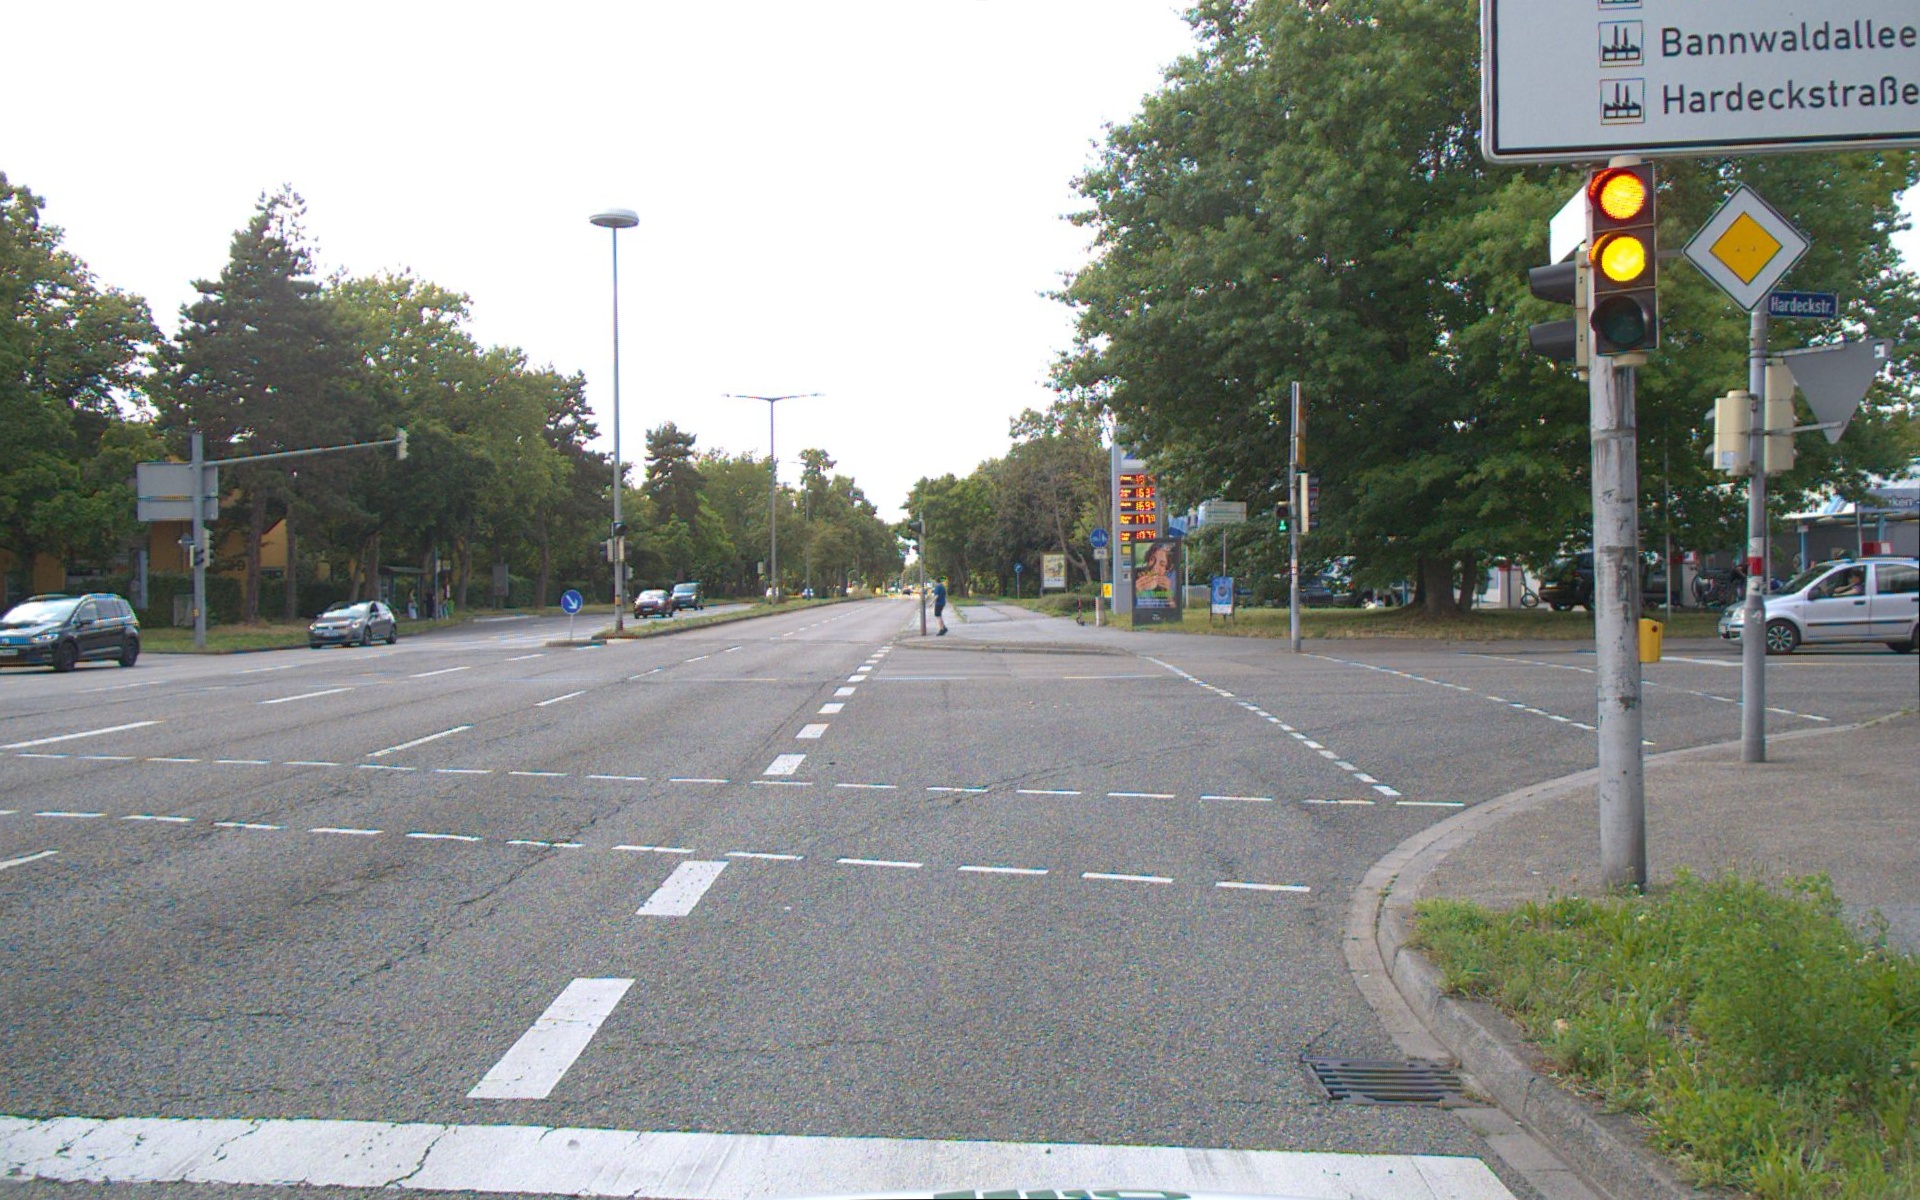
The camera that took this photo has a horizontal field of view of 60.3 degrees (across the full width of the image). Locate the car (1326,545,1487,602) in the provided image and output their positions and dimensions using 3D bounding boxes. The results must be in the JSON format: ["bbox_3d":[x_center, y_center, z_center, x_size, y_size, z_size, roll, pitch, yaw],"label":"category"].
[{"bbox_3d":[15.748,-0.926,58.467,5.089,1.858,2.148,-1,0,-12],"label":"car"}]

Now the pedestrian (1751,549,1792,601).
[{"bbox_3d":[20.420,-0.630,41.602,0.641,1.277,0.753,1,-1,-45],"label":"pedestrian"}]

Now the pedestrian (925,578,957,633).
[{"bbox_3d":[-0.541,0.148,47.291,0.713,1.558,0.756,-1,0,-17],"label":"pedestrian"}]

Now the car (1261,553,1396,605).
[{"bbox_3d":[15.421,-0.879,69.394,5.079,2.039,2.152,-1,0,-5],"label":"car"}]

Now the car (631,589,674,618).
[{"bbox_3d":[-16.960,0.172,91.399,1.736,1.490,4.453,-1,0,-4],"label":"car"}]

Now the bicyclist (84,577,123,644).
[{"bbox_3d":[-26.509,0.316,51.186,0.736,2.049,0.831,-1,0,-3],"label":"bicyclist"}]

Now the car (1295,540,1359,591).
[{"bbox_3d":[18.836,-1.721,85.146,1.715,2.496,5.747,-1,0,-2],"label":"car"}]

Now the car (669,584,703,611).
[{"bbox_3d":[-20.040,-0.204,121.136,1.729,1.889,4.816,-1,1,-1],"label":"car"}]

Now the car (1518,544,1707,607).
[{"bbox_3d":[18.196,-0.684,46.231,4.469,1.624,2.148,-1,0,-12],"label":"car"}]

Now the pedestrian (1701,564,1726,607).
[{"bbox_3d":[27.780,-0.540,61.013,0.640,1.571,0.624,-1,0,6],"label":"pedestrian"}]

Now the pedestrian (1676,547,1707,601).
[{"bbox_3d":[20.954,-0.732,47.400,0.550,1.521,0.619,1,-1,-8],"label":"pedestrian"}]

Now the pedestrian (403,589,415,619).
[{"bbox_3d":[-28.097,0.184,84.325,0.560,1.522,0.419,1,-1,-16],"label":"pedestrian"}]

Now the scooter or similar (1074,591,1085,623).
[{"bbox_3d":[3.759,0.217,51.958,0.216,0.996,1.272,-1,0,-1],"label":"scooter or similar"}]

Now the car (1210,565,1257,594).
[{"bbox_3d":[14.551,-1.068,88.084,1.715,1.479,3.739,-1,0,-3],"label":"car"}]

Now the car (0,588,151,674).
[{"bbox_3d":[-19.682,0.645,36.433,1.637,1.772,4.309,0,0,-1],"label":"car"}]

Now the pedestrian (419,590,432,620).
[{"bbox_3d":[-27.089,0.248,83.833,0.560,1.522,0.419,1,-1,-16],"label":"pedestrian"}]

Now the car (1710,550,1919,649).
[{"bbox_3d":[14.284,-0.017,26.903,3.520,1.543,1.560,-1,0,12],"label":"car"}]

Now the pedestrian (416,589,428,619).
[{"bbox_3d":[-27.623,0.195,84.963,0.560,1.522,0.419,1,-1,-16],"label":"pedestrian"}]

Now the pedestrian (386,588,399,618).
[{"bbox_3d":[-28.858,0.170,84.118,0.560,1.522,0.419,1,-1,-16],"label":"pedestrian"}]

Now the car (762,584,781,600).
[{"bbox_3d":[-21.940,-0.948,192.637,1.822,1.735,4.454,-1,0,-2],"label":"car"}]

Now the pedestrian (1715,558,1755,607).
[{"bbox_3d":[19.760,-0.442,42.188,0.641,1.210,0.753,1,-1,-45],"label":"pedestrian"}]

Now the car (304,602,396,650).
[{"bbox_3d":[-19.469,0.812,52.958,1.562,1.396,4.079,-1,0,-3],"label":"car"}]
